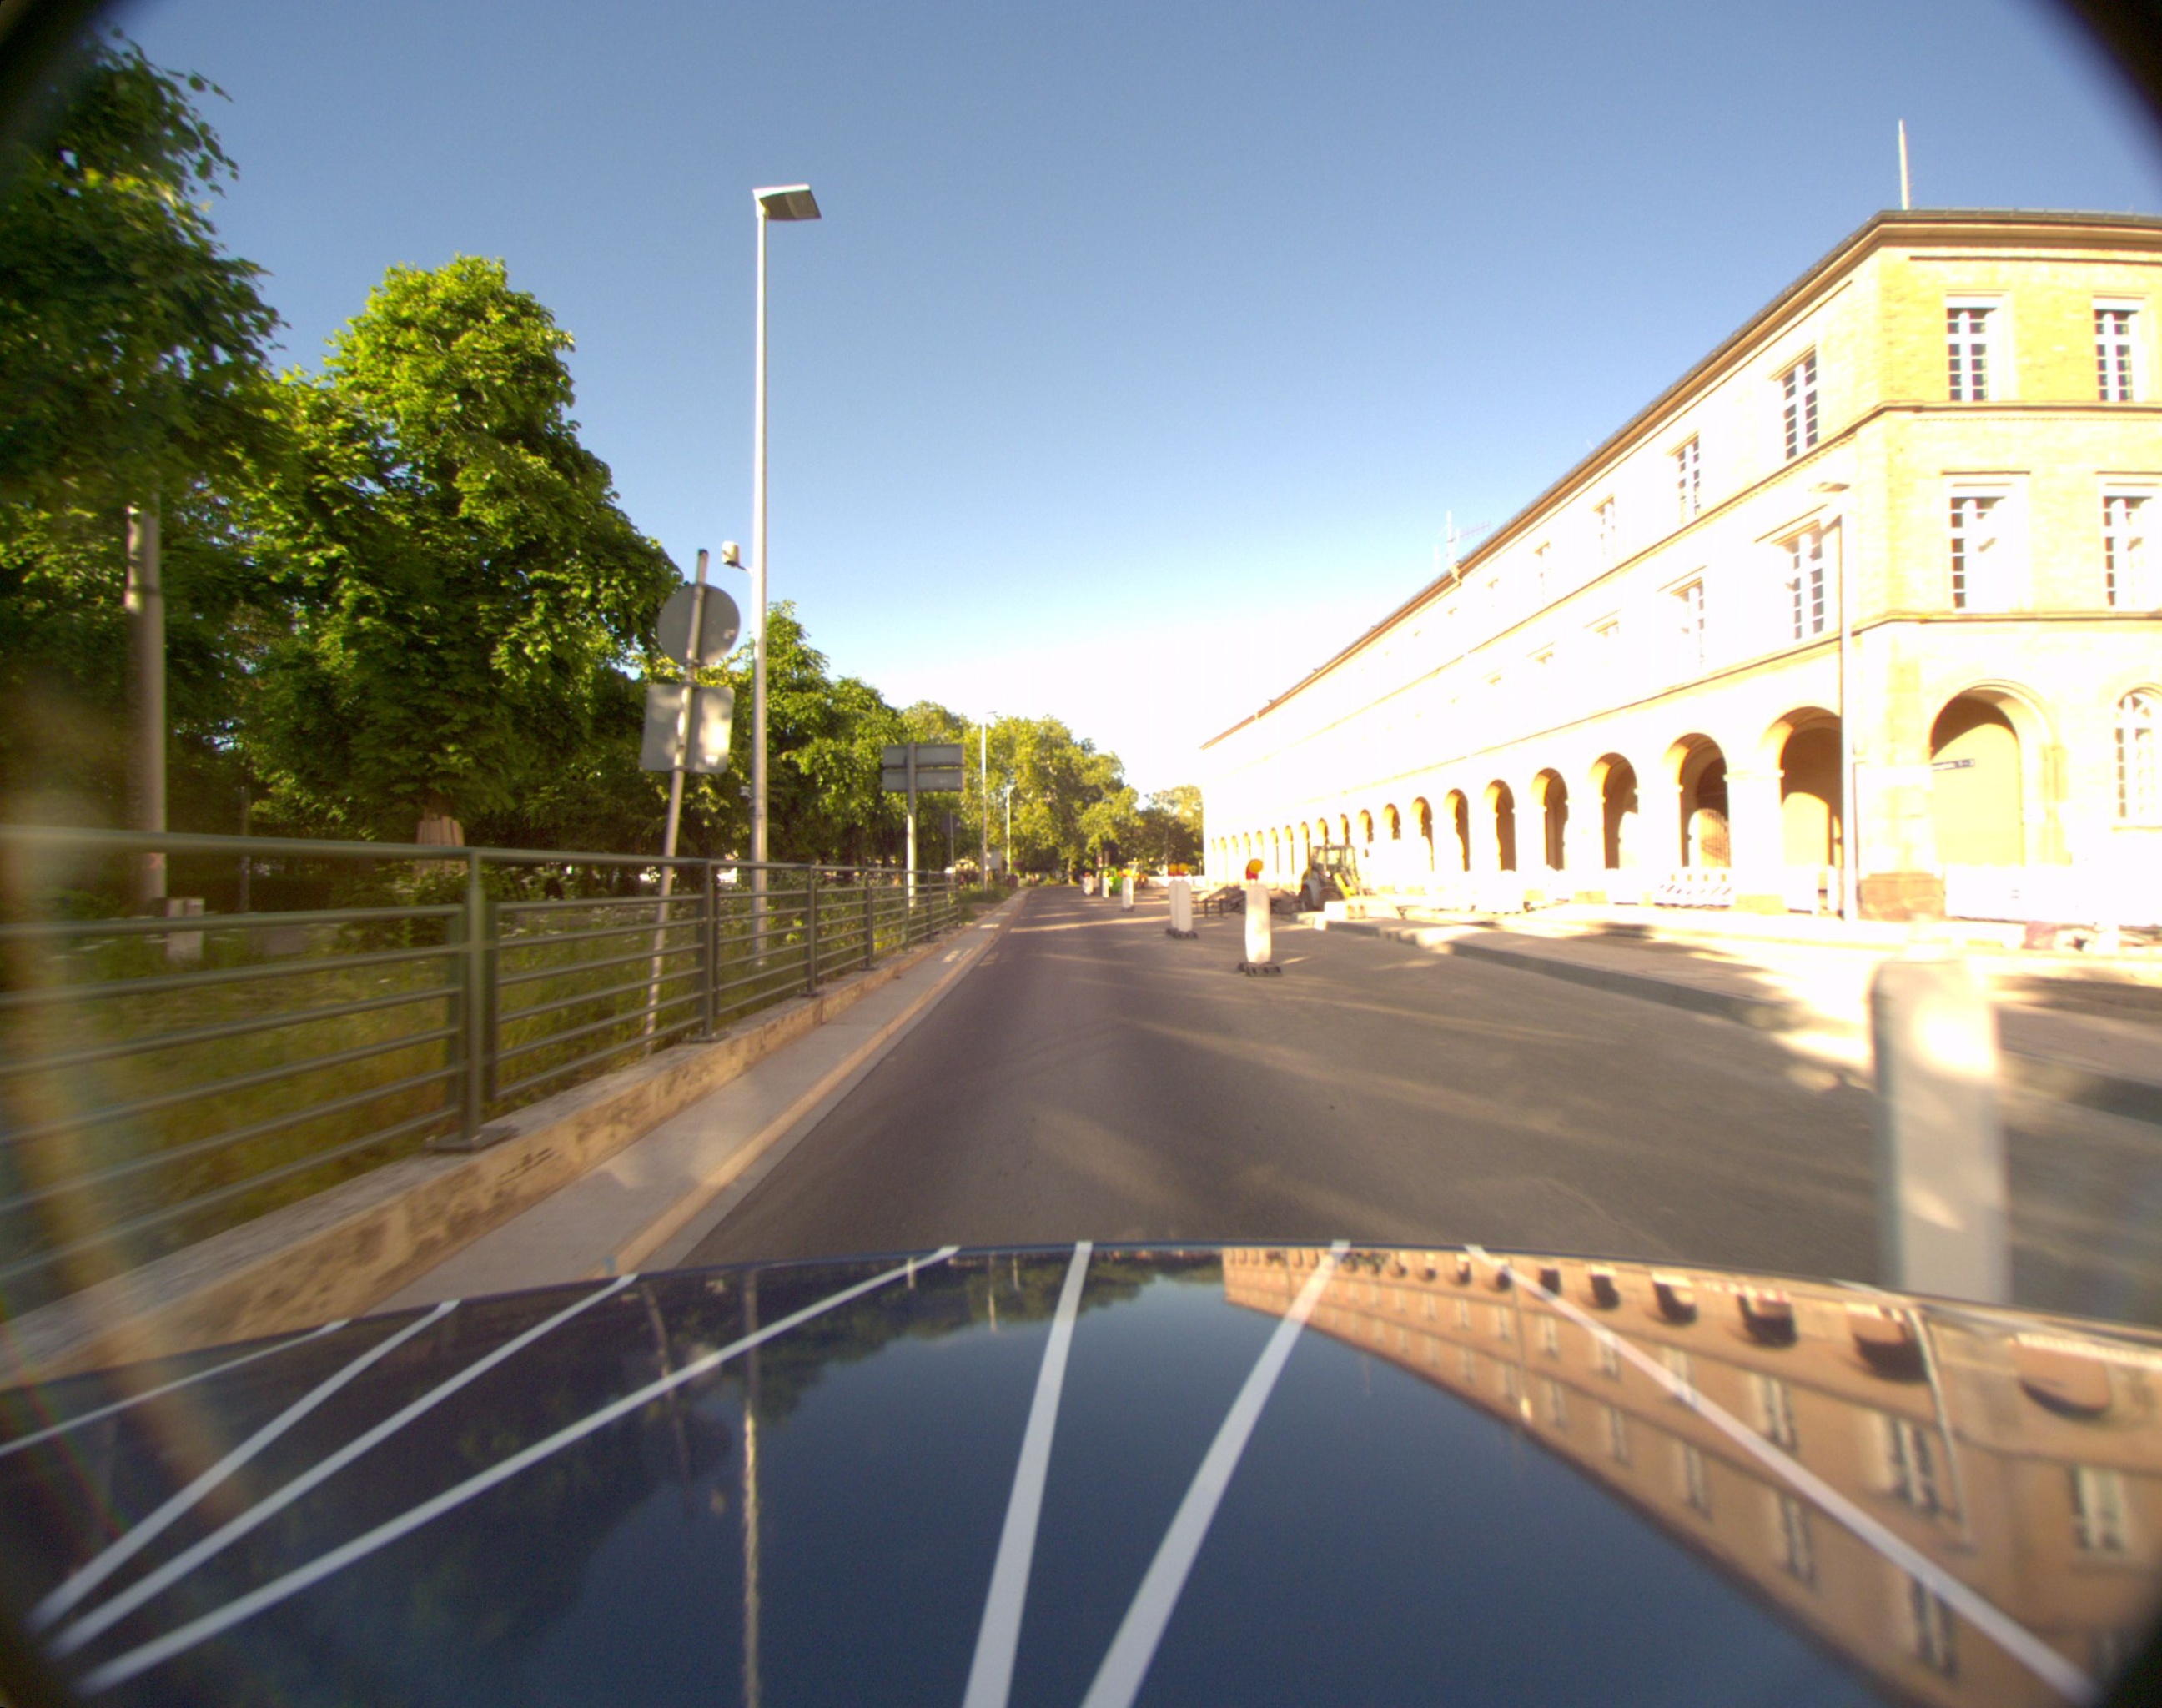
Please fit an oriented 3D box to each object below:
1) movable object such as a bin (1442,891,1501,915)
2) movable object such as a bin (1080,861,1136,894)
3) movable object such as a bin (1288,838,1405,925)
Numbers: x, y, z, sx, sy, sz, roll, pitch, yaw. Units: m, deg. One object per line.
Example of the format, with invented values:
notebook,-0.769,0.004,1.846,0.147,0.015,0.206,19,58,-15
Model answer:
movable object such as a bin,12.409,1.549,24.189,1.191,0.694,1.240,0,-1,-4
movable object such as a bin,1.757,1.541,50.184,3.245,2.064,2.108,0,-1,-15
movable object such as a bin,8.145,0.829,23.797,1.796,2.438,4.535,0,-1,-5
